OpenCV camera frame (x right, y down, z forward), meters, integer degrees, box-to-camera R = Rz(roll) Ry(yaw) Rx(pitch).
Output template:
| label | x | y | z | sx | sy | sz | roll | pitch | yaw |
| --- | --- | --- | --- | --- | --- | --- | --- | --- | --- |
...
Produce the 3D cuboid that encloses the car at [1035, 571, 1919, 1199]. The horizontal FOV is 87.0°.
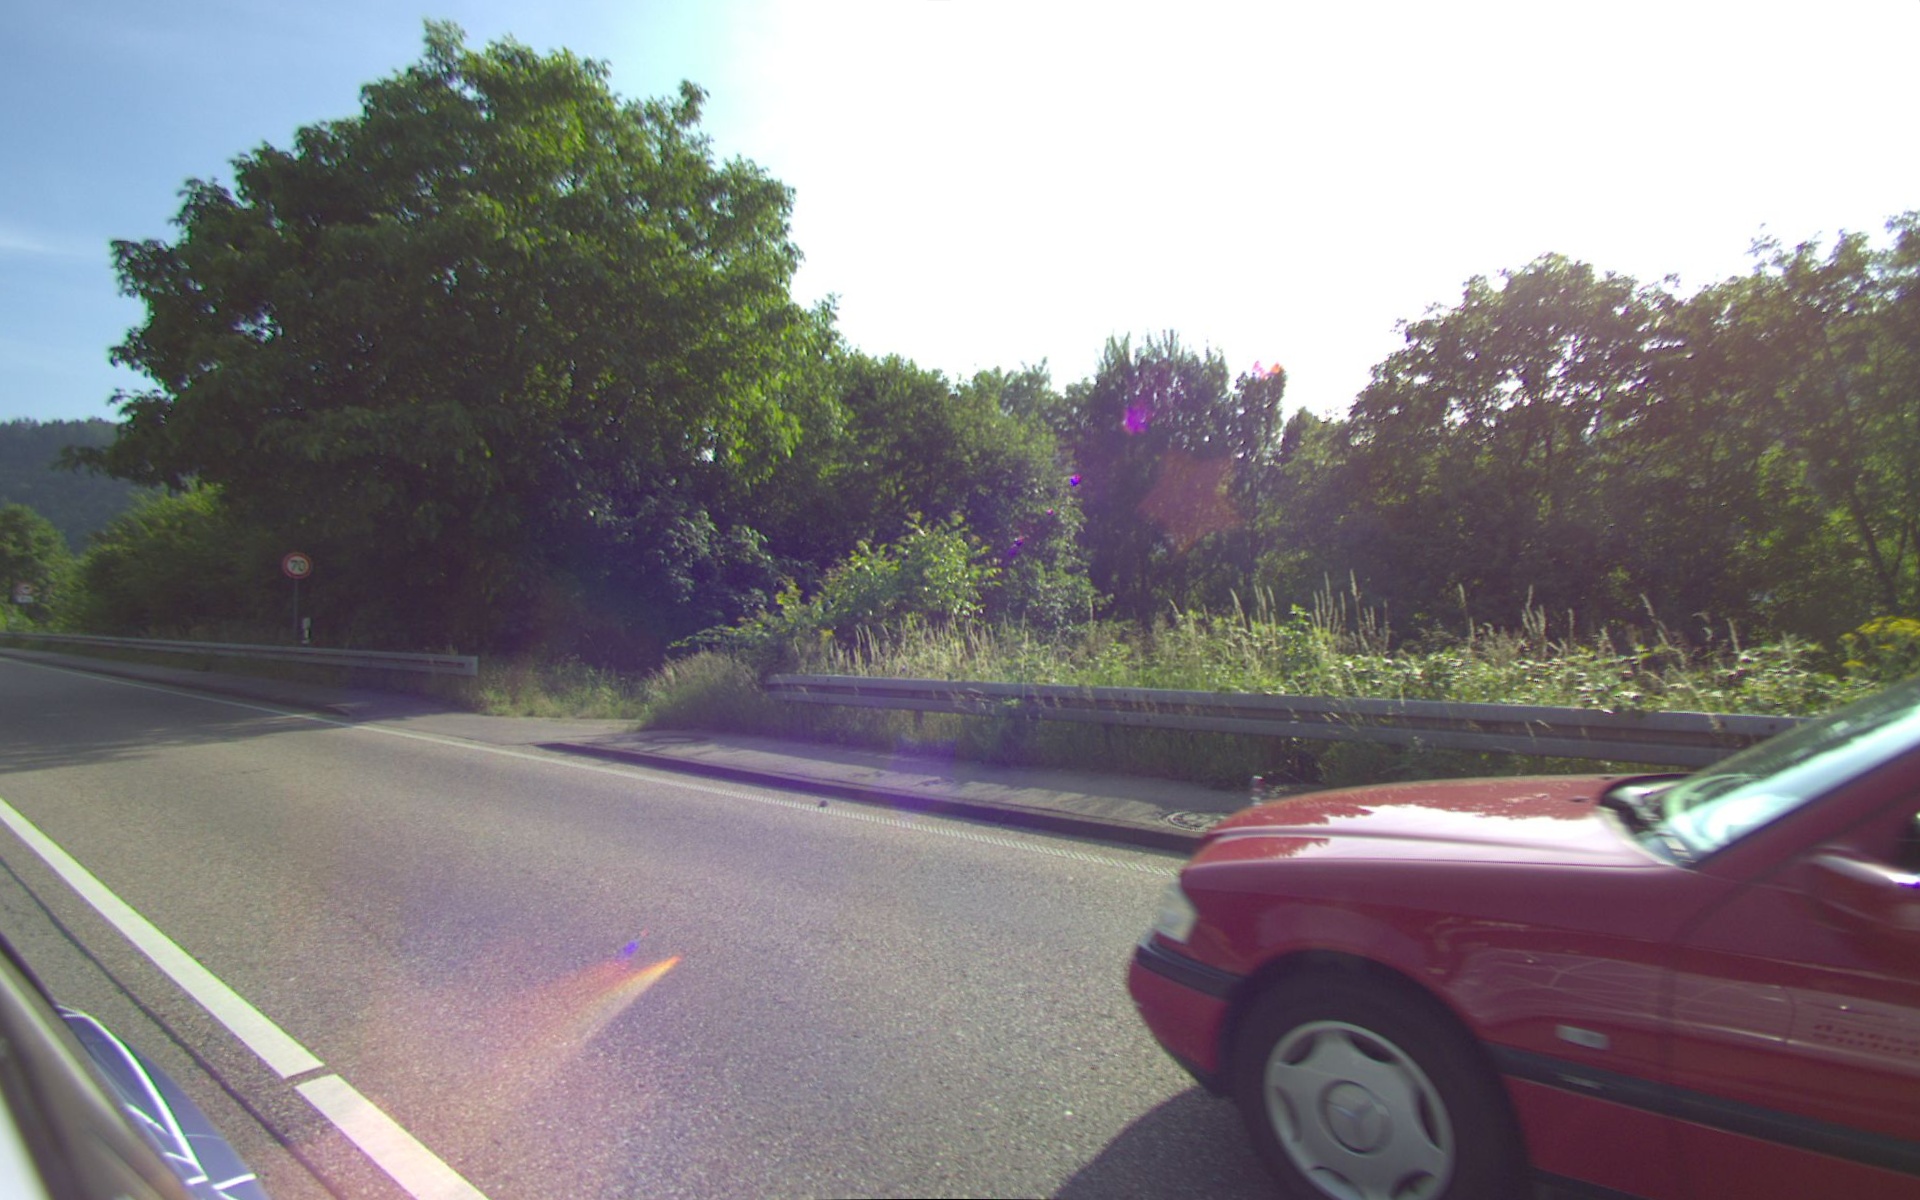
| label | x | y | z | sx | sy | sz | roll | pitch | yaw |
| --- | --- | --- | --- | --- | --- | --- | --- | --- | --- |
| car | 2.665 | 0.664 | 1.764 | 4.941 | 1.481 | 1.822 | -2 | 0 | 41 |
